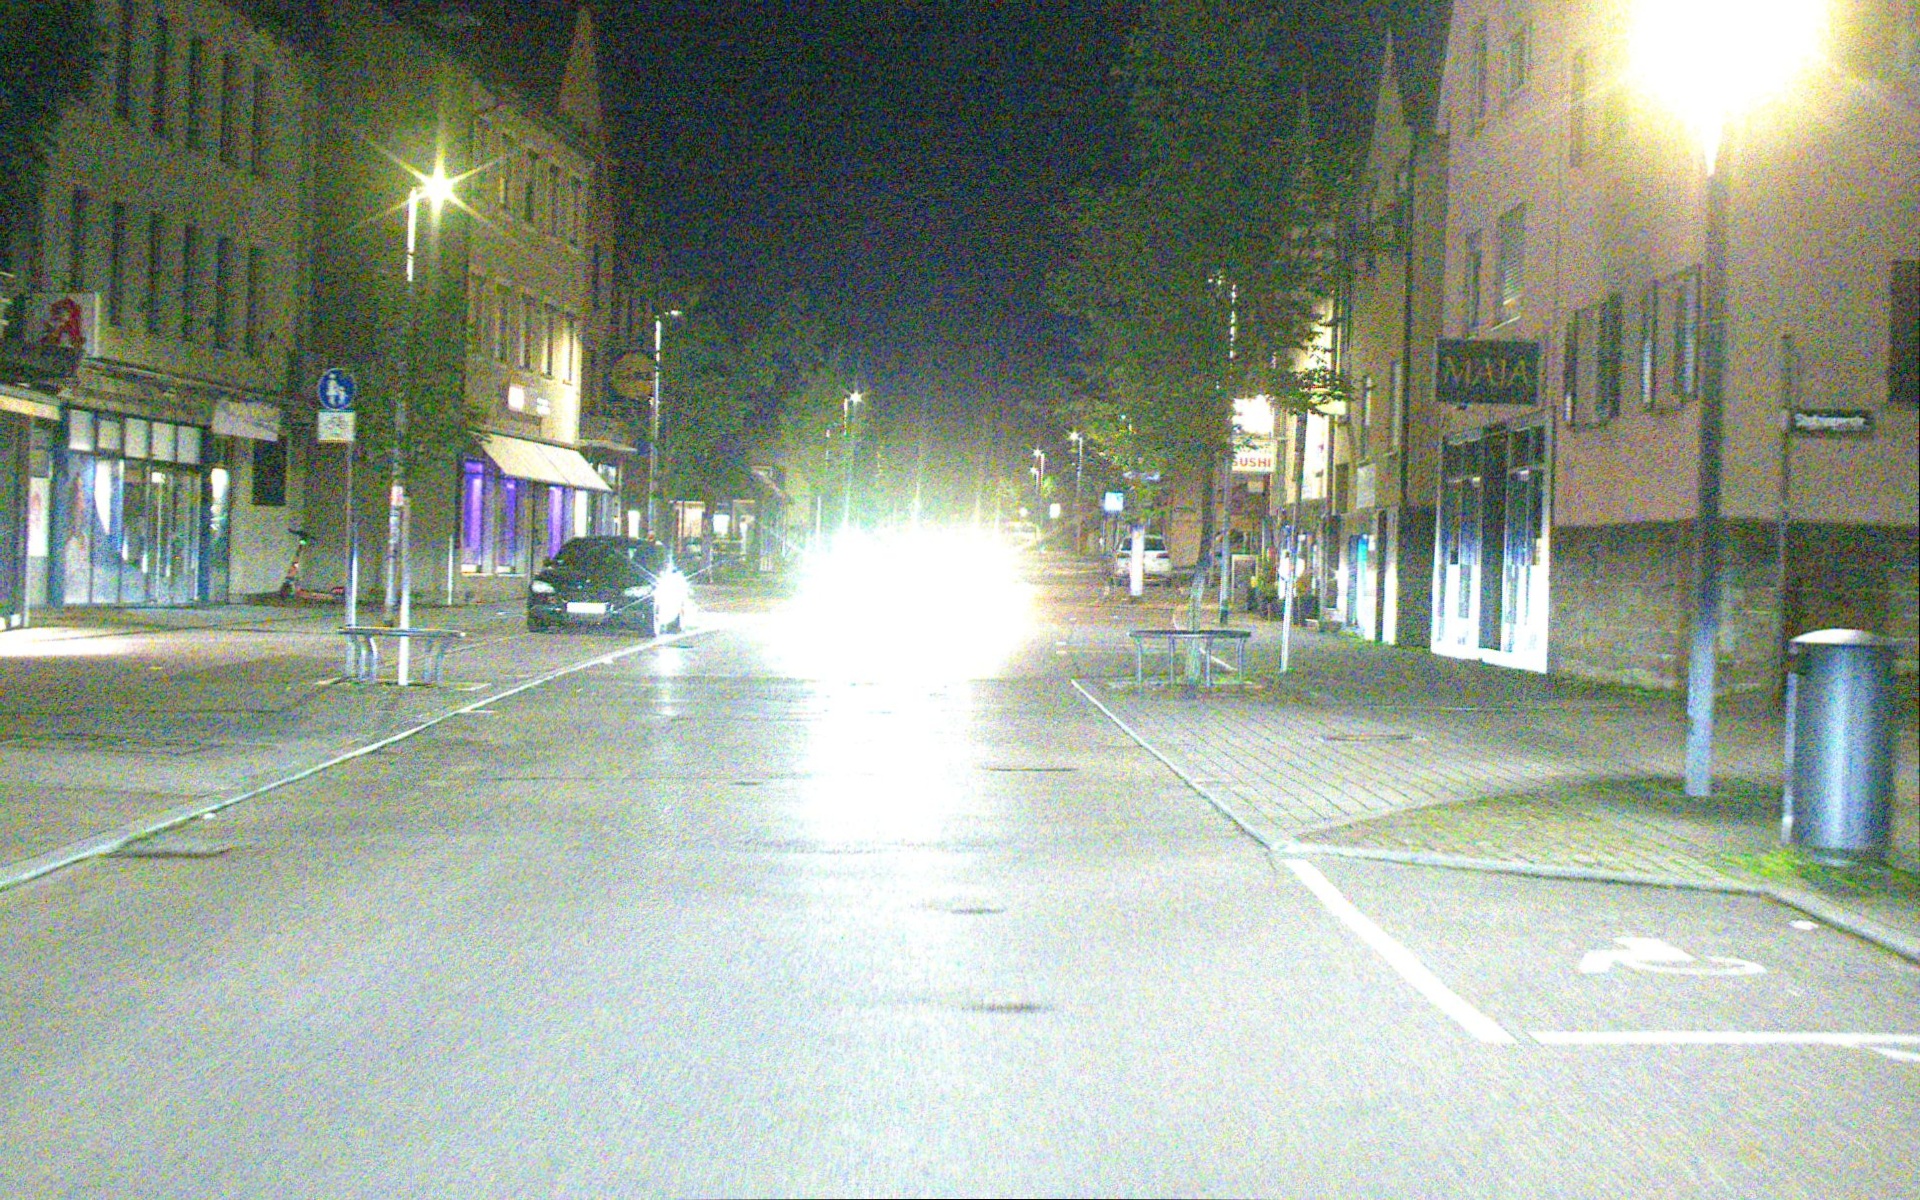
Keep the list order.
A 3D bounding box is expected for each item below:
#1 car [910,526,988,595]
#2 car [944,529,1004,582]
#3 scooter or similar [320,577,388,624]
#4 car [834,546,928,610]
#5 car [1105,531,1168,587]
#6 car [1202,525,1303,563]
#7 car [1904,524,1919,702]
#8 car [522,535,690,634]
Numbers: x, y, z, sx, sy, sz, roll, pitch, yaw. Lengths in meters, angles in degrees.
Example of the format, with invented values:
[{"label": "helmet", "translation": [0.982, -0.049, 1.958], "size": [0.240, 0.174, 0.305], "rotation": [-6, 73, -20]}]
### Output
[{"label": "car", "translation": [-0.253, -1.010, 85.868], "size": [1.775, 1.647, 4.364], "rotation": [1, 1, 2]}, {"label": "car", "translation": [0.479, -1.465, 111.525], "size": [1.775, 1.647, 4.364], "rotation": [1, 1, 2]}, {"label": "scooter or similar", "translation": [-10.450, 0.004, 59.294], "size": [1.095, 0.778, 0.525], "rotation": [1, 1, -2]}, {"label": "car", "translation": [-1.584, -0.463, 70.187], "size": [1.723, 1.242, 4.237], "rotation": [1, 1, 1]}, {"label": "car", "translation": [5.362, -1.263, 104.772], "size": [1.775, 1.647, 4.364], "rotation": [1, 1, 1]}, {"label": "car", "translation": [11.741, -2.236, 137.795], "size": [3.988, 1.412, 1.999], "rotation": [1, -1, 6]}, {"label": "car", "translation": [9.924, 0.021, 27.854], "size": [3.986, 1.471, 1.752], "rotation": [-3, 0, -2]}, {"label": "car", "translation": [-5.232, -0.258, 51.350], "size": [1.914, 1.366, 4.457], "rotation": [1, 1, 2]}]
